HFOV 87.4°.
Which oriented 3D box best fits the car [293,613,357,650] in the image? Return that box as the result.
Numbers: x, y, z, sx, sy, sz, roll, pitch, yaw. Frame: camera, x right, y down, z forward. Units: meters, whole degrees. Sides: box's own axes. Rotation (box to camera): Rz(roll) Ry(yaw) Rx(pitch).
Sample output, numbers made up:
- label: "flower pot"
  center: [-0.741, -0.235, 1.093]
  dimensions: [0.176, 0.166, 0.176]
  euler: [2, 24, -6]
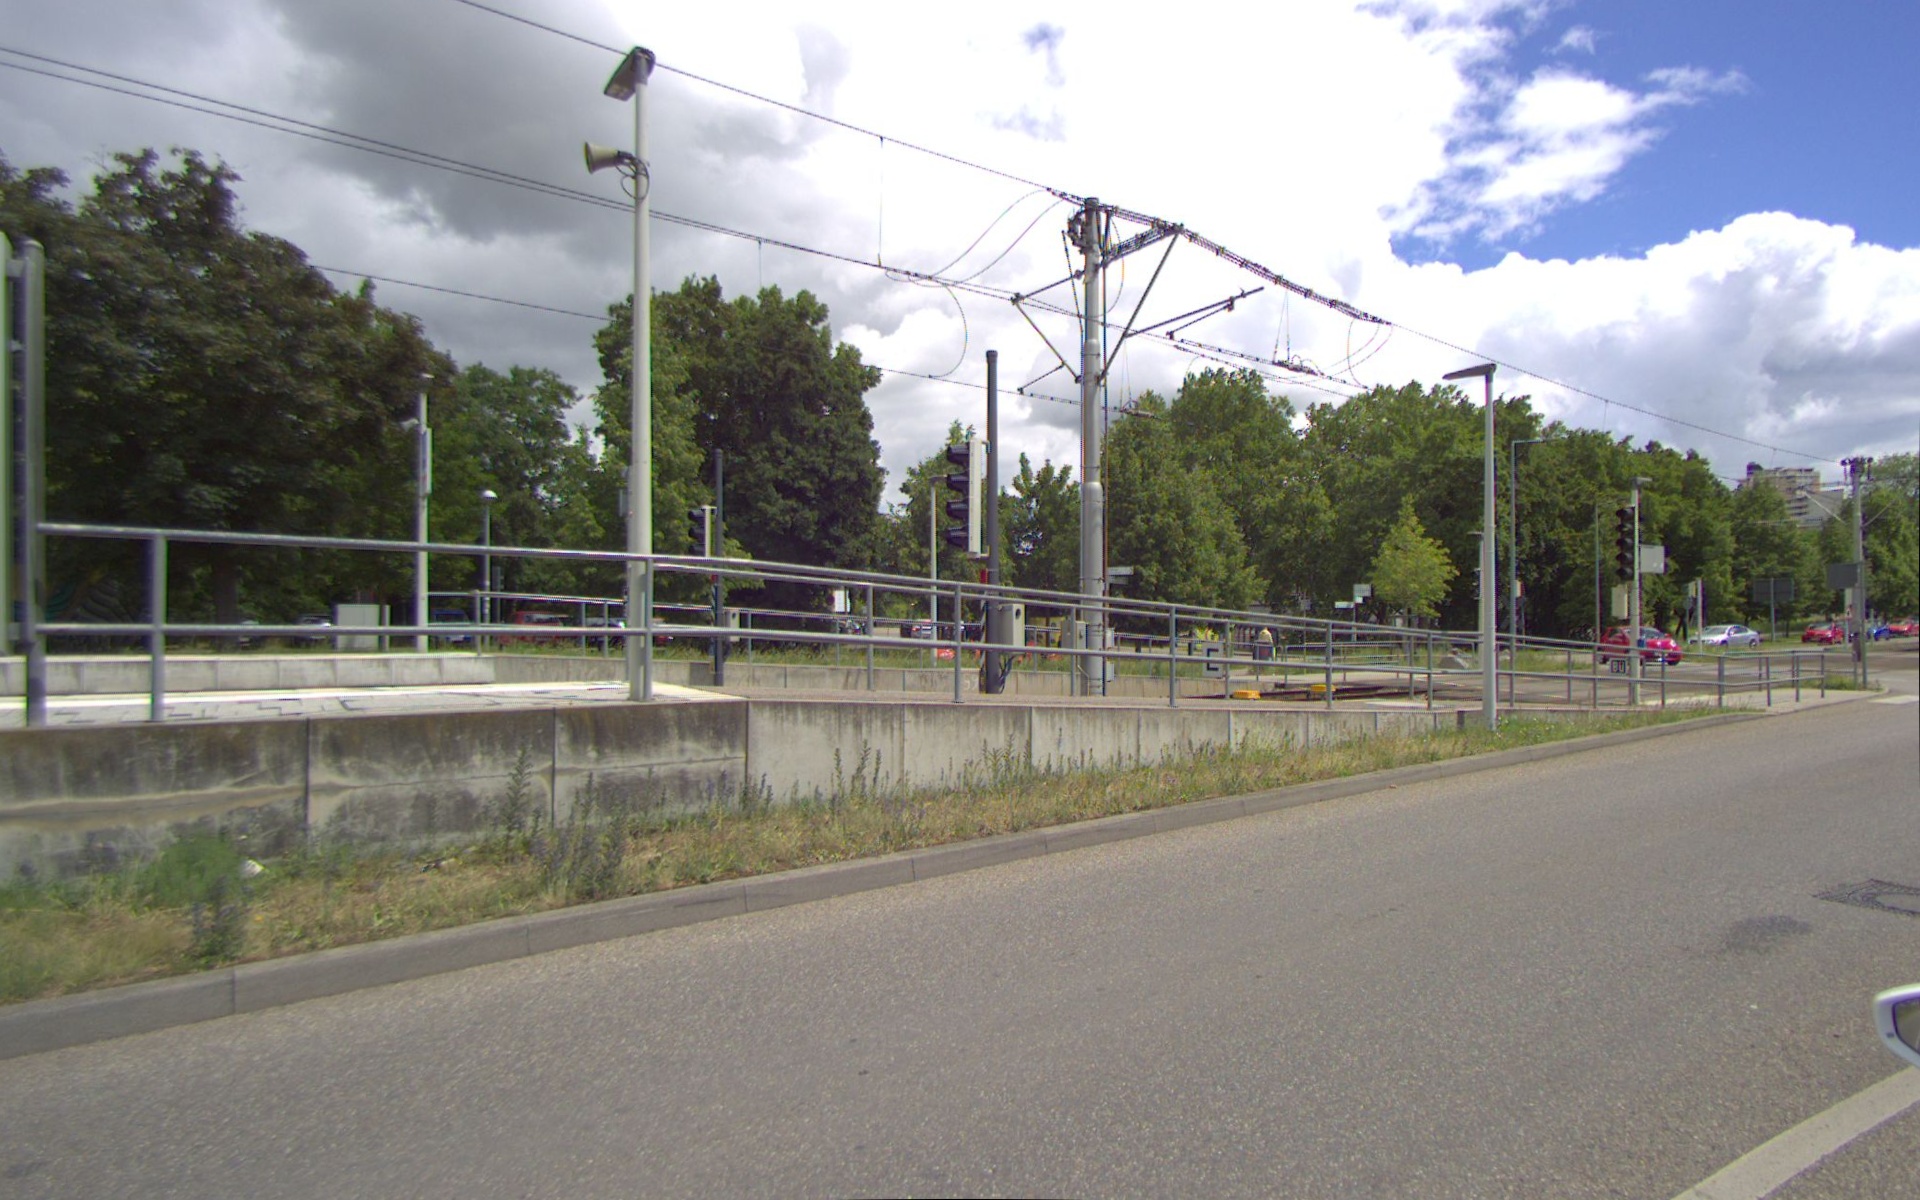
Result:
- label: "car"
  center: [-27.620, 1.336, 43.637]
  dimensions: [1.952, 1.511, 3.789]
  euler: [0, -1, -39]

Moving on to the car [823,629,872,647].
- label: "car"
  center: [-8.341, 2.790, 74.683]
  dimensions: [3.425, 1.270, 1.604]
  euler: [0, 0, -2]

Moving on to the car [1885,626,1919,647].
- label: "car"
  center: [74.871, 2.886, 79.264]
  dimensions: [3.958, 1.582, 1.901]
  euler: [1, -1, -34]

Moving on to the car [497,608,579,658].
- label: "car"
  center: [-15.739, 1.188, 37.378]
  dimensions: [2.033, 1.728, 3.611]
  euler: [0, -1, -36]

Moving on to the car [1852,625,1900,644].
- label: "car"
  center: [66.678, 2.491, 73.112]
  dimensions: [3.529, 1.271, 1.796]
  euler: [0, -1, -33]

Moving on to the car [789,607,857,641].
- label: "car"
  center: [-8.392, 1.475, 61.931]
  dimensions: [3.922, 2.040, 2.000]
  euler: [0, 0, -2]

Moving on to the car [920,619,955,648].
- label: "car"
  center: [-1.340, 2.014, 61.596]
  dimensions: [1.960, 1.660, 4.140]
  euler: [0, -1, 1]

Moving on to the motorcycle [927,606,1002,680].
- label: "motorcycle"
  center: [0.131, 1.212, 28.326]
  dimensions: [1.954, 2.040, 0.832]
  euler: [1, -1, -23]

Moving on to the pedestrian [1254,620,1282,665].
- label: "pedestrian"
  center: [14.039, 1.922, 45.772]
  dimensions: [0.808, 2.040, 0.960]
  euler: [0, 0, -17]

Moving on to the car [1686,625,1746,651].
- label: "car"
  center: [41.590, 2.073, 55.255]
  dimensions: [3.800, 1.368, 1.861]
  euler: [0, -2, -41]

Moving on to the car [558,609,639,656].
- label: "car"
  center: [-14.033, 1.209, 38.908]
  dimensions: [1.956, 1.706, 3.959]
  euler: [0, -1, -36]

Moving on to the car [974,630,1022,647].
- label: "car"
  center: [2.472, 2.550, 66.384]
  dimensions: [3.045, 1.096, 1.415]
  euler: [0, 0, -4]

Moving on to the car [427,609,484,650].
- label: "car"
  center: [-22.942, 1.285, 45.623]
  dimensions: [2.164, 1.751, 3.969]
  euler: [0, -1, -29]

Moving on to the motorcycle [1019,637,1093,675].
- label: "motorcycle"
  center: [2.890, 1.651, 30.099]
  dimensions: [2.188, 1.095, 0.726]
  euler: [1, -1, -29]

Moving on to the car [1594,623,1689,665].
- label: "car"
  center: [26.051, 1.670, 38.512]
  dimensions: [1.691, 1.523, 2.967]
  euler: [0, -1, 1]

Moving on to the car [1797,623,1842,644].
- label: "car"
  center: [57.258, 2.221, 66.891]
  dimensions: [3.562, 1.388, 1.518]
  euler: [1, -1, -36]
